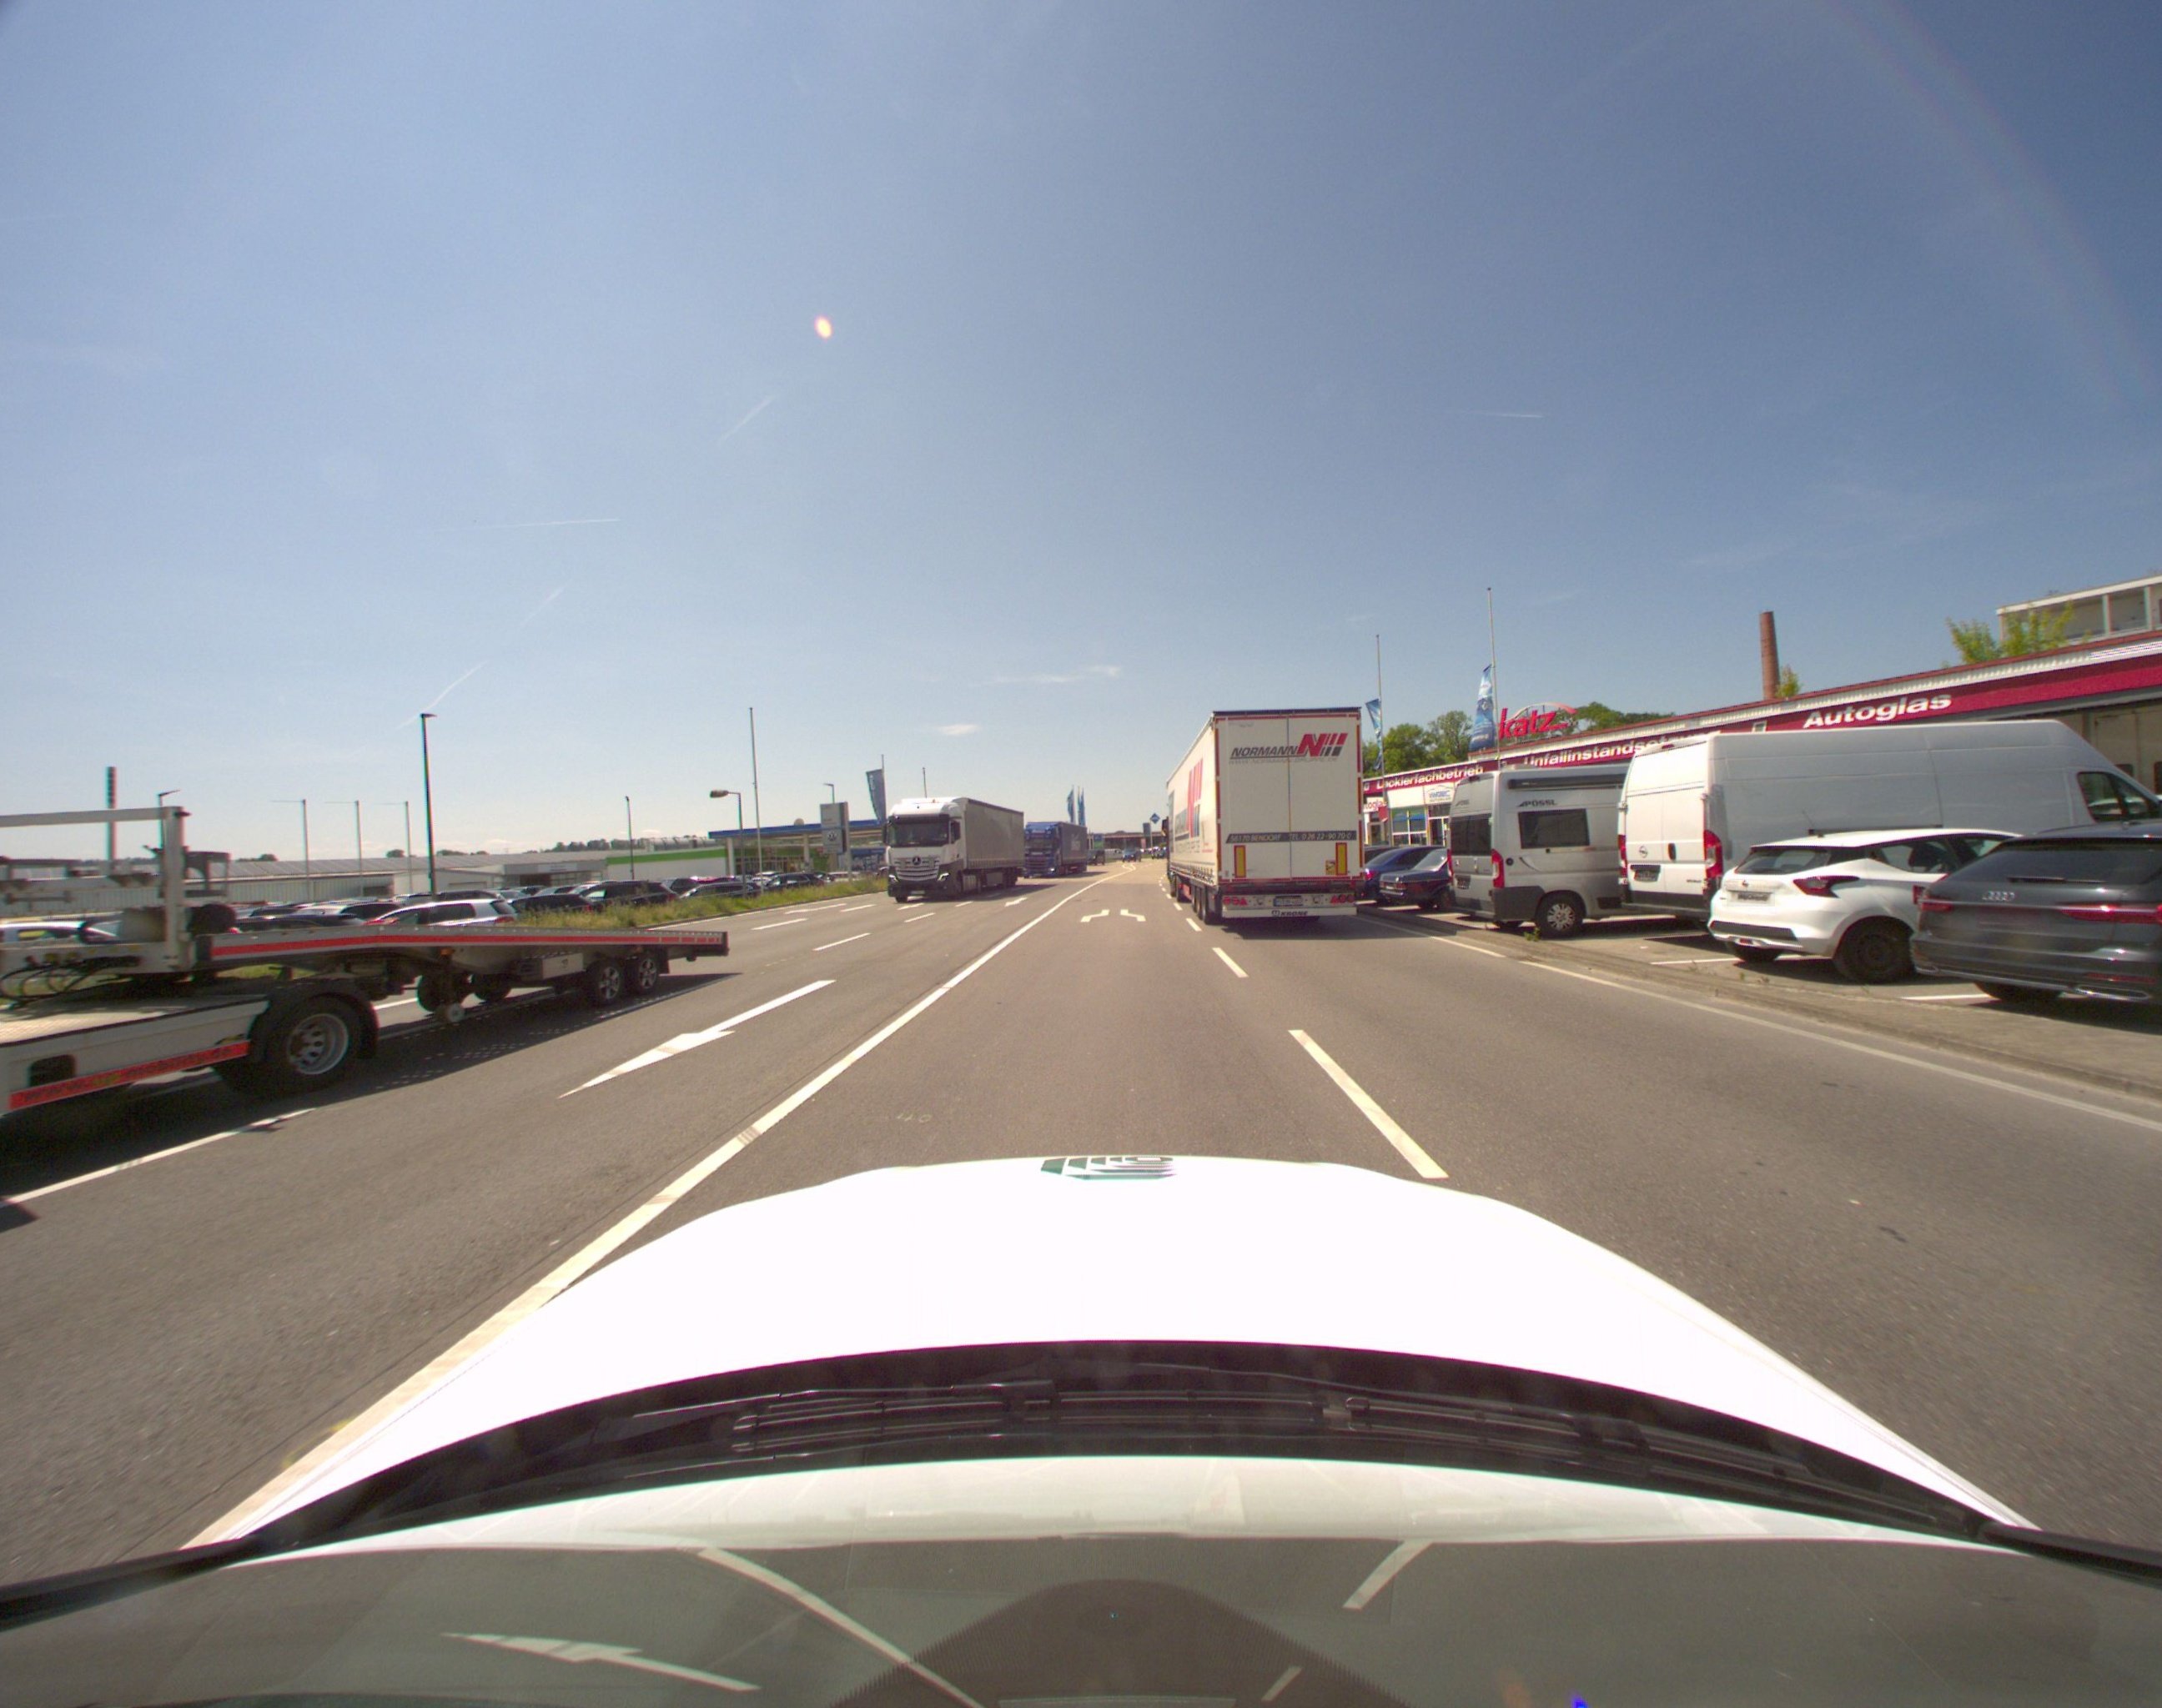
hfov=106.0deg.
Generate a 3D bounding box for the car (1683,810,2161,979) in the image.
[{"bbox_3d":[8.974,0.382,8.594,3.790,1.499,1.857,-2,0,5],"label":"car"}]

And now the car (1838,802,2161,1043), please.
[{"bbox_3d":[8.834,0.358,6.151,4.312,1.499,2.081,-2,0,-1],"label":"car"}]

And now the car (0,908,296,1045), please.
[{"bbox_3d":[-15.705,1.929,13.188,3.879,1.750,1.857,-3,0,-29],"label":"car"}]

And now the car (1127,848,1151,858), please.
[{"bbox_3d":[10.857,-0.228,152.135,3.948,1.750,1.947,-2,-1,37],"label":"car"}]

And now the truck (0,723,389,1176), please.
[{"bbox_3d":[-6.875,0.575,3.534,2.413,2.340,5.683,-4,0,5],"label":"truck"}]

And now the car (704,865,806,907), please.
[{"bbox_3d":[-14.944,1.452,37.513,4.186,1.586,1.769,-4,0,-22],"label":"car"}]

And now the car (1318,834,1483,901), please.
[{"bbox_3d":[9.382,0.397,24.117,4.003,1.481,1.976,-6,-1,-4],"label":"car"}]

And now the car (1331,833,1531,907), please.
[{"bbox_3d":[9.067,0.413,21.435,4.248,1.413,2.164,-6,-1,2],"label":"car"}]

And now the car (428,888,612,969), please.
[{"bbox_3d":[-15.043,1.943,22.124,3.879,1.750,1.783,-3,0,-29],"label":"car"}]

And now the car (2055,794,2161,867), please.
[{"bbox_3d":[21.947,-0.473,16.551,3.601,1.374,1.666,-1,0,-21],"label":"car"}]

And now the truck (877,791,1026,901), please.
[{"bbox_3d":[-5.225,-0.224,37.394,2.777,3.889,16.503,-2,-1,5],"label":"truck"}]

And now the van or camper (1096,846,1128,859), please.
[{"bbox_3d":[5.000,-0.242,129.965,4.816,1.905,1.910,-2,-1,11],"label":"van or camper"}]

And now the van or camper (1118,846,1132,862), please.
[{"bbox_3d":[6.104,-0.065,112.819,1.828,2.138,5.349,-1,0,4],"label":"van or camper"}]

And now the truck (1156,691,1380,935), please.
[{"bbox_3d":[3.993,-0.669,22.745,2.961,4.093,17.647,-2,0,3],"label":"truck"}]

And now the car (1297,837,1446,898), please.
[{"bbox_3d":[9.296,0.422,26.284,4.003,1.481,1.976,-6,-1,-4],"label":"car"}]

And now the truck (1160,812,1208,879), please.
[{"bbox_3d":[6.853,-0.525,55.540,2.634,3.806,13.381,-4,0,6],"label":"truck"}]

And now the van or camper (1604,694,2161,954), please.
[{"bbox_3d":[10.522,-0.343,10.976,5.344,2.905,2.235,-3,0,4],"label":"van or camper"}]

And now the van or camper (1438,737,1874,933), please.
[{"bbox_3d":[9.159,-0.276,13.467,5.451,2.730,2.235,-3,0,4],"label":"van or camper"}]

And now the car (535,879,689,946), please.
[{"bbox_3d":[-14.293,1.728,25.021,3.879,1.686,1.783,-3,0,-29],"label":"car"}]

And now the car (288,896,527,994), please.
[{"bbox_3d":[-15.327,2.000,18.826,3.877,1.750,1.784,-3,0,-27],"label":"car"}]

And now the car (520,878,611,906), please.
[{"bbox_3d":[-30.747,2.243,48.681,4.175,1.309,1.690,-4,0,-14],"label":"car"}]

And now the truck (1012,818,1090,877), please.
[{"bbox_3d":[-1.939,-0.383,63.250,2.828,3.889,17.045,-2,-1,9],"label":"truck"}]

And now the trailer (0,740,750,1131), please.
[{"bbox_3d":[-6.419,0.560,8.522,2.417,2.338,6.906,-4,-1,5],"label":"trailer"}]

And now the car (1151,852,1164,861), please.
[{"bbox_3d":[11.652,0.343,124.643,1.840,1.271,4.181,-4,0,4],"label":"car"}]

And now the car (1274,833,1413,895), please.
[{"bbox_3d":[9.199,0.353,28.759,4.009,1.674,2.195,-6,-1,-9],"label":"car"}]

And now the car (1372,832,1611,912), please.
[{"bbox_3d":[9.258,0.398,18.657,4.495,1.518,1.784,-3,-1,3],"label":"car"}]

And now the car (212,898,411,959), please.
[{"bbox_3d":[-24.096,2.266,25.791,1.986,1.464,4.459,-2,0,1],"label":"car"}]
